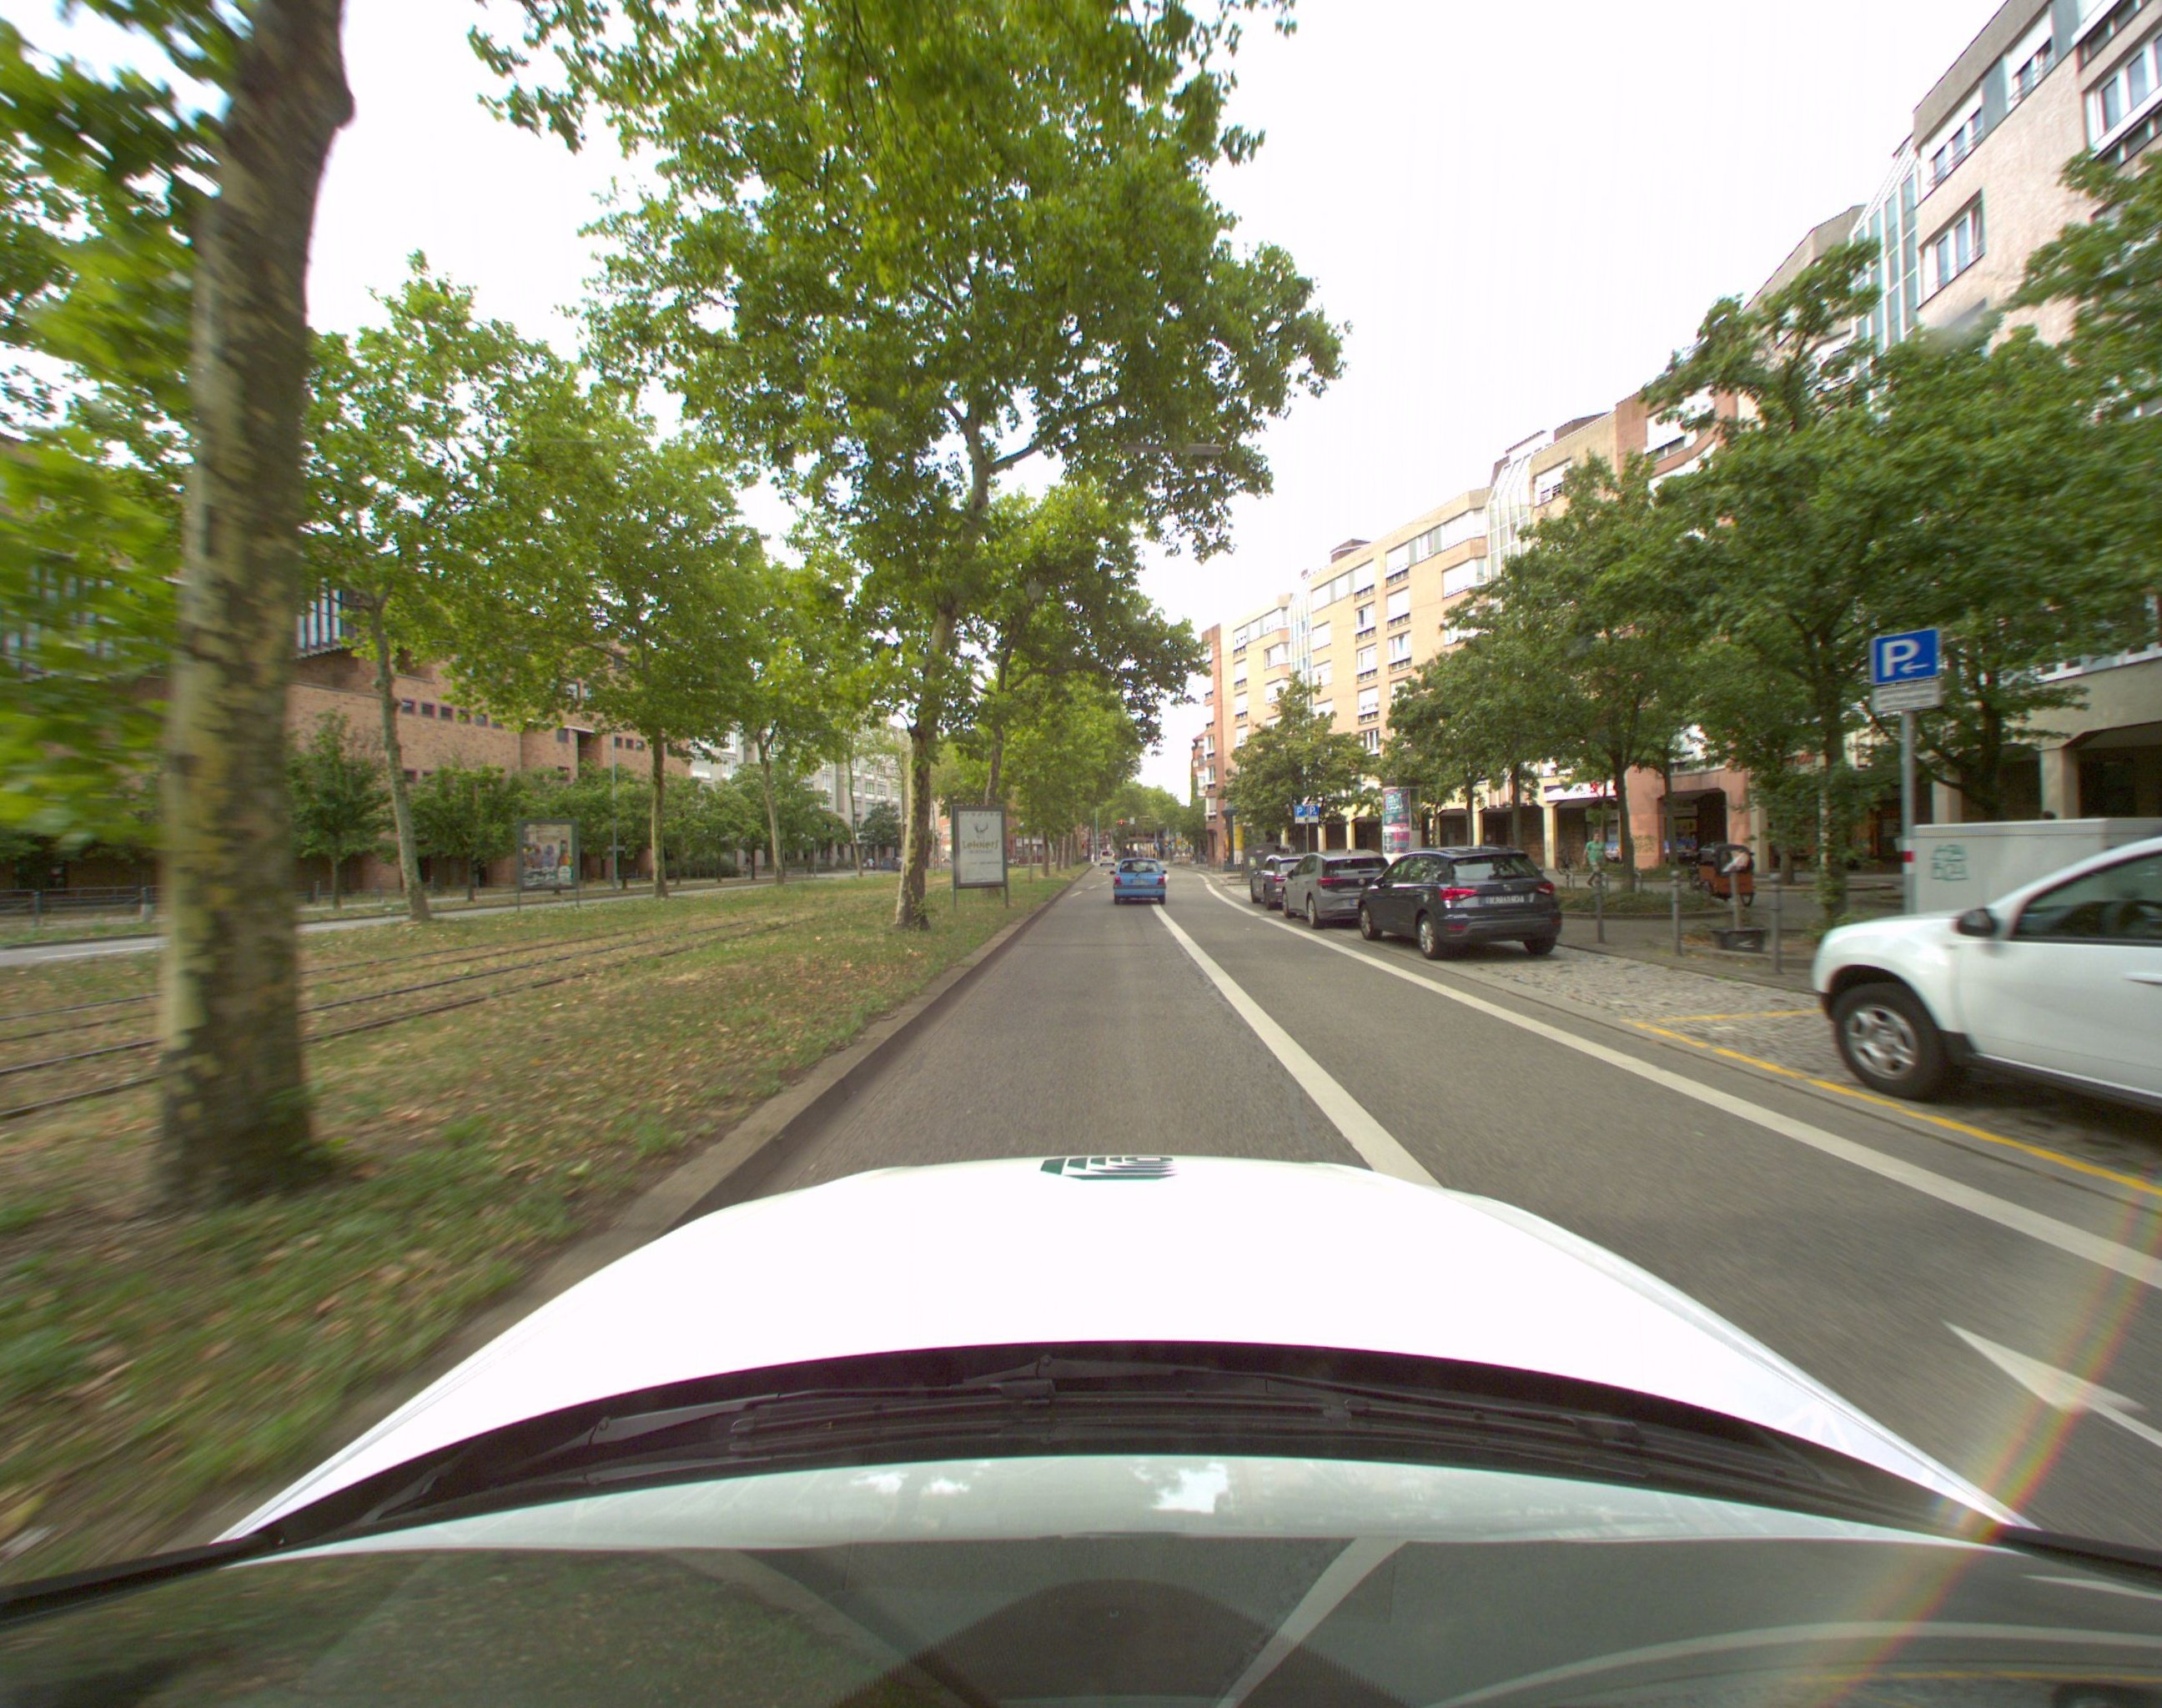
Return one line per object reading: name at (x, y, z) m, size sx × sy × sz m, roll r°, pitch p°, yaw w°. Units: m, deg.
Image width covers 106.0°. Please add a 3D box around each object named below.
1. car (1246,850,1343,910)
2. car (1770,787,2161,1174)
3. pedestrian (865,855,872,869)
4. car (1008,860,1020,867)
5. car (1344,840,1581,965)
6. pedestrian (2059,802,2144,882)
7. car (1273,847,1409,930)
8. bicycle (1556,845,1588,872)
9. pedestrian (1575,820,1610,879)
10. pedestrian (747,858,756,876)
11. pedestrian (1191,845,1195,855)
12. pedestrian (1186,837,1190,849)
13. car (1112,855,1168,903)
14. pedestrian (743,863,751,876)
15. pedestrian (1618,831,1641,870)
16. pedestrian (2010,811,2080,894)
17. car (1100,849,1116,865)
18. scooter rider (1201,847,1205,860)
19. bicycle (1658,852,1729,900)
car at (5.863, 0.646, 22.944) m, size 1.808 × 1.442 × 4.672 m, roll -3°, pitch 0°, yaw 5°
car at (5.525, 0.503, 3.476) m, size 1.852 × 1.653 × 4.169 m, roll -3°, pitch 0°, yaw 5°
pedestrian at (-25.502, 0.936, 97.827) m, size 0.549 × 1.705 × 0.886 m, roll -1°, pitch 0°, yaw 7°
car at (-12.497, 1.744, 153.217) m, size 1.723 × 1.245 × 4.536 m, roll -1°, pitch 0°, yaw 2°
car at (5.607, 0.618, 12.612) m, size 1.709 × 1.519 × 4.205 m, roll -3°, pitch 0°, yaw 1°
pedestrian at (20.778, -0.241, 16.598) m, size 0.705 × 1.555 × 0.802 m, roll -2°, pitch 0°, yaw 15°
car at (5.481, 0.647, 17.761) m, size 1.732 × 1.519 × 4.405 m, roll -3°, pitch 0°, yaw 3°
bicycle at (20.850, 0.184, 34.562) m, size 1.975 × 1.112 × 0.590 m, roll -1°, pitch -1°, yaw -43°
pedestrian at (14.188, -0.130, 22.595) m, size 0.601 × 1.586 × 0.684 m, roll -1°, pitch 0°, yaw 11°
pedestrian at (-31.546, 1.210, 77.988) m, size 0.549 × 1.705 × 0.627 m, roll -1°, pitch 0°, yaw 6°
pedestrian at (18.071, -0.627, 131.274) m, size 0.671 × 1.538 × 0.949 m, roll -1°, pitch -1°, yaw 10°
pedestrian at (14.935, -1.496, 113.623) m, size 0.514 × 1.616 × 0.852 m, roll -1°, pitch -1°, yaw 7°
car at (1.821, 0.735, 25.921) m, size 1.634 × 1.386 × 3.846 m, roll -1°, pitch 0°, yaw 3°
pedestrian at (-34.128, 1.545, 83.266) m, size 0.454 × 1.323 × 0.556 m, roll -1°, pitch 0°, yaw 13°
pedestrian at (23.442, -0.143, 34.842) m, size 0.529 × 1.662 × 0.854 m, roll -1°, pitch 0°, yaw 14°
pedestrian at (19.791, -0.027, 16.733) m, size 0.601 × 1.662 × 0.684 m, roll -1°, pitch 0°, yaw 12°
car at (3.388, 0.310, 102.355) m, size 1.924 × 1.925 × 4.958 m, roll -1°, pitch 0°, yaw 2°
scooter rider at (15.768, -0.089, 105.121) m, size 0.460 × 1.720 × 0.554 m, roll -1°, pitch -1°, yaw 6°
bicycle at (13.713, 0.459, 18.283) m, size 0.482 × 1.013 × 1.867 m, roll -1°, pitch 0°, yaw 11°
